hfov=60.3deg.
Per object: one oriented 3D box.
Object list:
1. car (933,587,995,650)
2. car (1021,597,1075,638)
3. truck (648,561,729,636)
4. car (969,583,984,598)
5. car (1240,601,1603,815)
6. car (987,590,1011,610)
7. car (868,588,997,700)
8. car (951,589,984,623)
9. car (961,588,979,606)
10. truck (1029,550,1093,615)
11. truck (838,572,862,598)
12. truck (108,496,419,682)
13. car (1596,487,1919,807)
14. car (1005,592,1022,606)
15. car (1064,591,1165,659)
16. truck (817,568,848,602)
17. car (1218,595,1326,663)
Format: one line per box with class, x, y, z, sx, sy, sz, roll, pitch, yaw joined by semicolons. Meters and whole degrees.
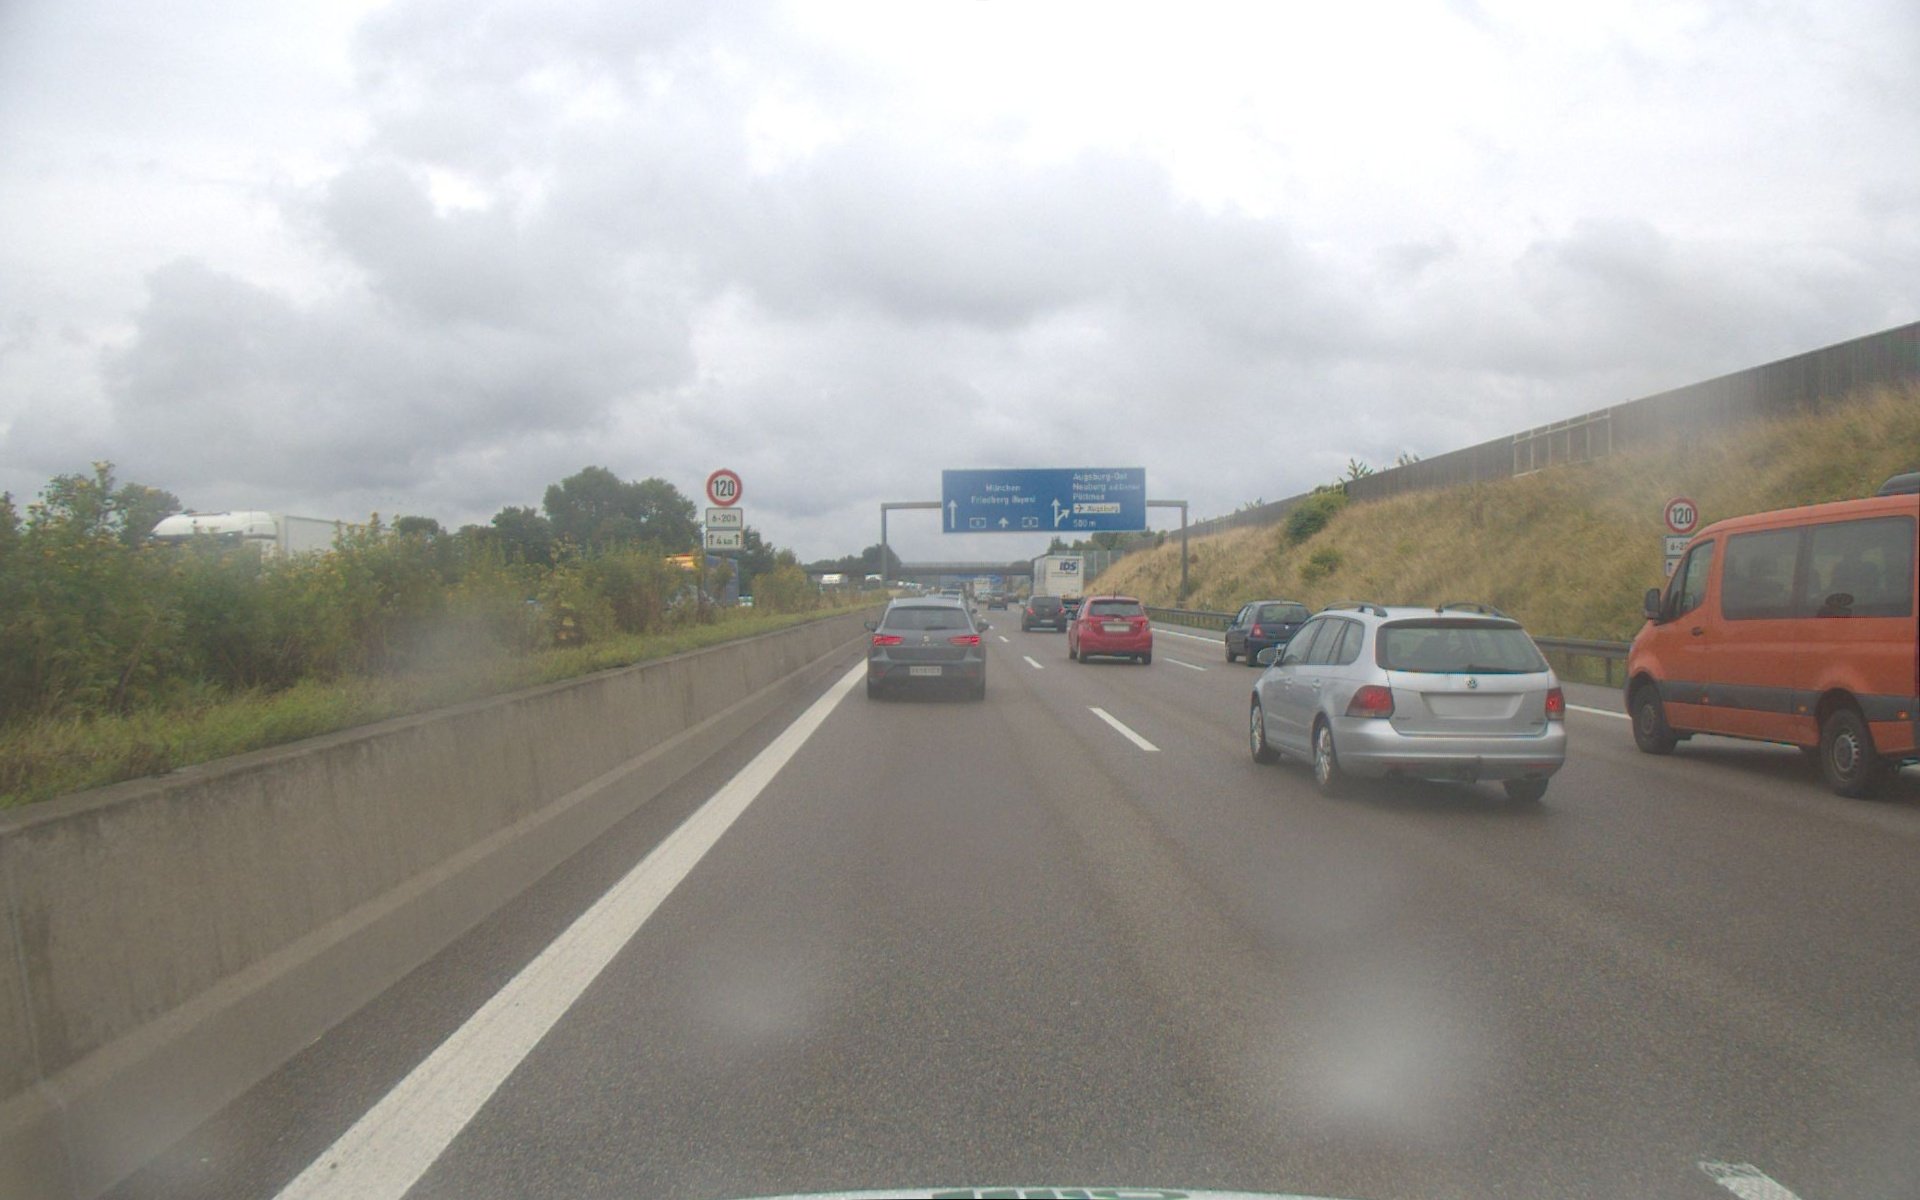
car;0.090;0.534;49.266;1.718;1.780;3.999;1;0;-1
car;3.493;0.671;66.651;1.882;1.548;4.621;0;0;-1
truck;-17.237;-0.075;105.949;3.342;4.440;10.990;1;0;0
car;2.304;-1.339;233.541;1.954;2.049;3.997;0;0;-3
car;3.610;0.752;13.805;1.706;1.450;4.516;0;0;-1
car;3.358;0.020;143.149;1.808;1.716;3.998;1;0;-2
car;-0.428;0.608;24.594;1.733;1.493;3.999;1;0;-2
car;0.427;0.318;93.229;1.670;1.828;3.854;-2;0;-2
car;1.160;-0.322;191.314;1.953;2.049;4.241;1;0;0
truck;7.202;-1.172;121.204;3.216;4.370;19.029;1;0;-1
truck;-13.036;-1.780;196.119;2.264;2.959;7.424;1;0;0
truck;-17.067;-0.223;41.724;3.118;4.036;10.810;1;0;0
car;7.998;0.322;14.870;2.043;2.355;6.179;0;0;-2
car;7.205;-0.192;224.118;1.954;1.892;4.388;0;0;-3
car;3.525;0.544;38.533;1.852;1.472;4.684;0;0;-1
truck;-17.134;-1.977;222.941;3.541;4.349;7.591;1;0;0
car;7.005;0.620;37.469;1.667;1.426;3.875;1;0;-1
